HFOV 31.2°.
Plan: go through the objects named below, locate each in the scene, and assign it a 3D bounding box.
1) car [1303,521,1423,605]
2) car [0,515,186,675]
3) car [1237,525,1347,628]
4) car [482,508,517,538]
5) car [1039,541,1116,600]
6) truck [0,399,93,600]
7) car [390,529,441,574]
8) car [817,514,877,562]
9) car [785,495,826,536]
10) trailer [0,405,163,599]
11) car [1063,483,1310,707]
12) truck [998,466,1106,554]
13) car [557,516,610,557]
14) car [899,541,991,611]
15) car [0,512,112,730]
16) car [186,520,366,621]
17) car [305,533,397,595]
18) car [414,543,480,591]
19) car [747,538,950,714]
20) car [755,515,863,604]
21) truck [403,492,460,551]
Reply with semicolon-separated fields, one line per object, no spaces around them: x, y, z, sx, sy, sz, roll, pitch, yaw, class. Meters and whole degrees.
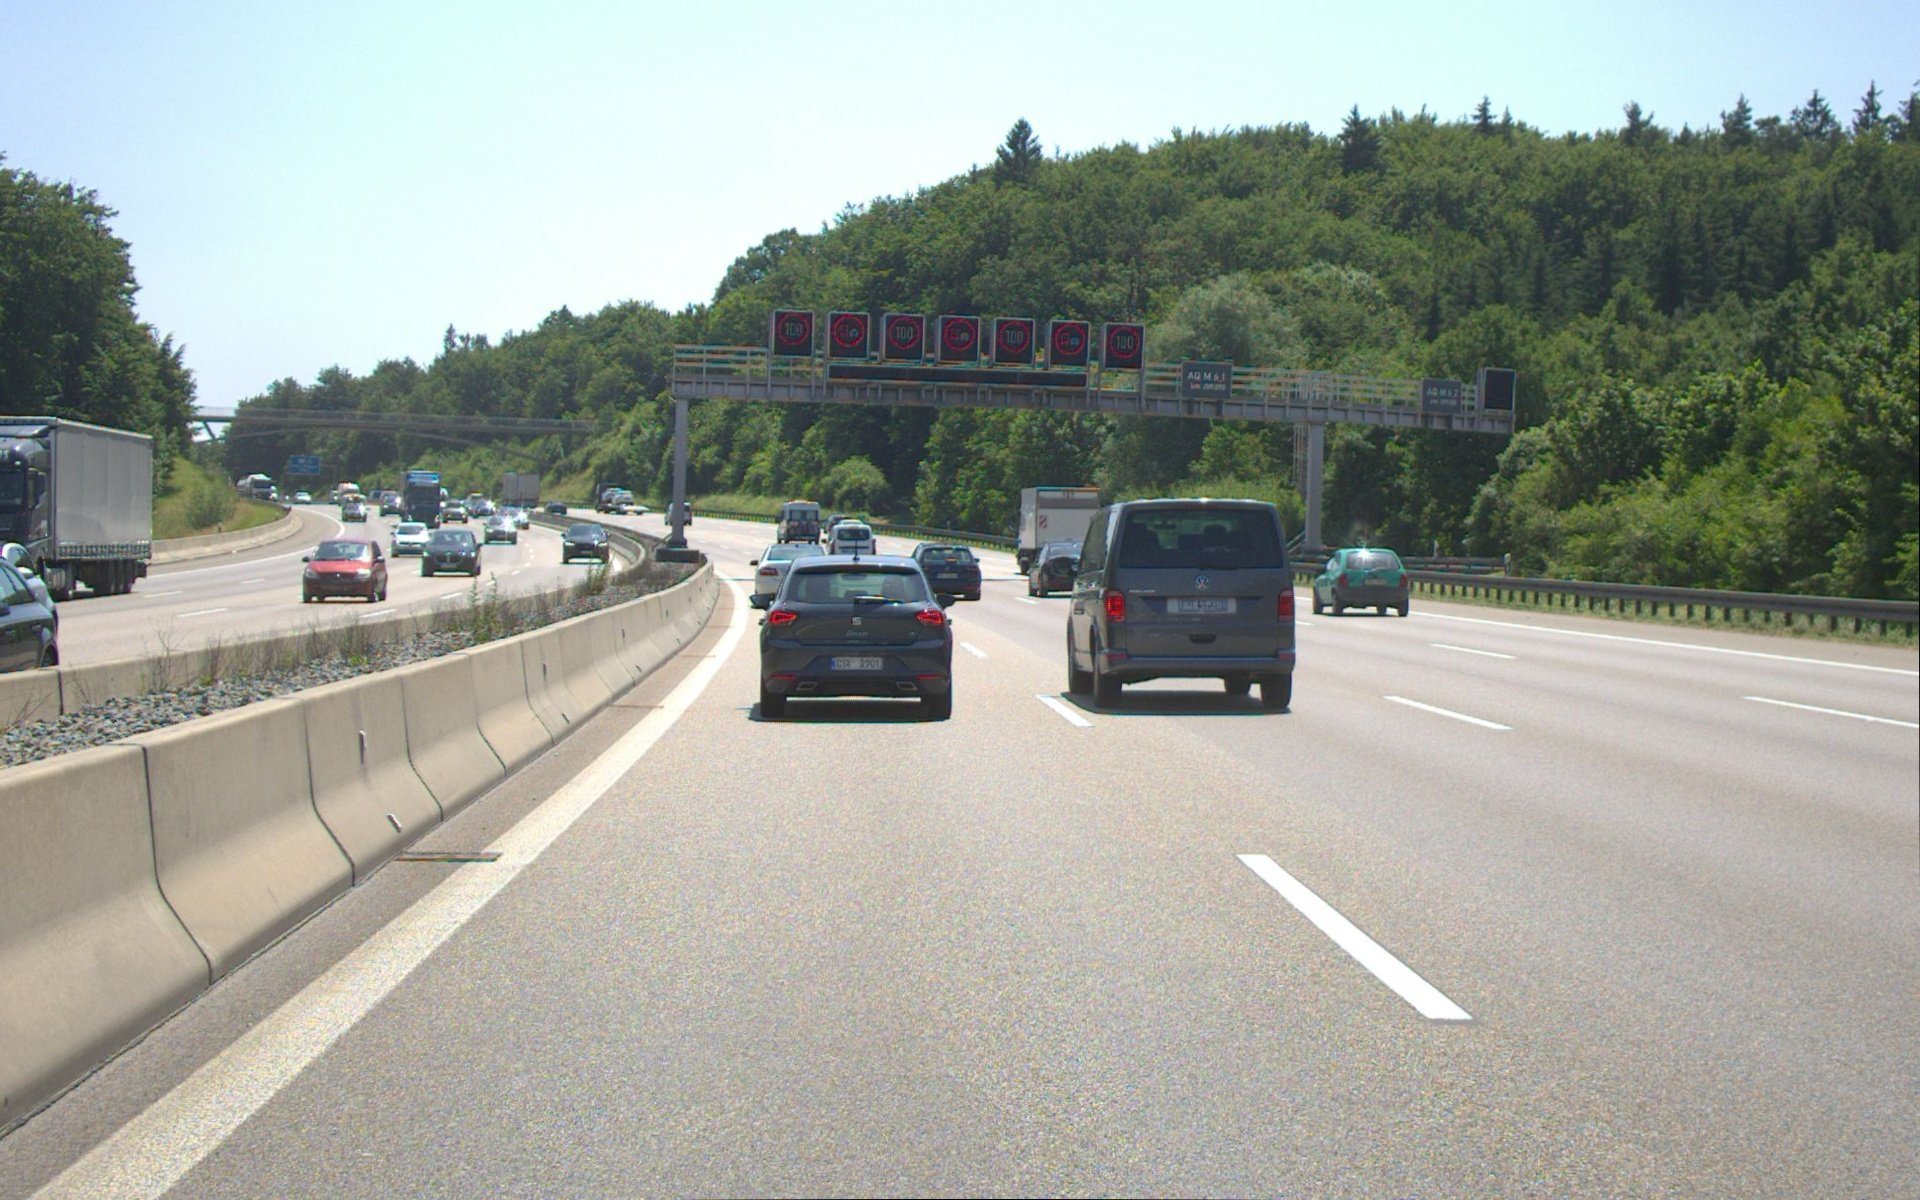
8.589;-0.774;73.483;1.993;1.722;4.000;0;0;-1;car
-10.517;-0.105;40.479;1.740;1.756;5.119;0;1;-1;car
5.897;-0.392;61.207;1.850;1.722;3.999;1;0;5;car
-26.370;-4.420;196.983;1.754;1.629;4.640;0;2;-5;car
3.095;-0.793;91.338;1.665;1.403;4.904;1;2;-2;car
-21.370;-2.199;76.542;2.875;4.275;6.454;0;1;-4;truck
-24.684;-2.210;155.984;1.993;2.007;4.001;0;1;-4;car
-4.380;-2.403;132.909;2.103;1.738;4.689;1;2;-4;car
-9.090;-4.947;202.566;2.265;2.363;4.702;0;1;-2;car
-21.754;-2.273;82.574;2.864;4.248;13.962;0;1;-4;trailer
2.149;-0.085;33.932;1.962;2.026;5.084;0;1;-1;car
3.367;-3.392;128.050;2.985;3.156;7.577;1;2;-6;truck
-15.868;-2.680;145.079;1.993;1.662;4.435;0;1;-4;car
-0.407;-0.616;87.105;1.993;1.722;4.150;0;0;-5;car
-7.975;0.136;25.858;1.993;1.584;4.844;0;1;0;car
-12.219;-0.546;61.746;2.287;1.722;5.031;0;1;-1;car
-14.389;-0.852;81.400;1.669;1.393;4.001;2;0;-3;car
-17.295;-1.108;116.027;1.761;1.515;4.362;2;0;-3;car
-0.992;0.189;31.421;1.708;1.428;4.001;1;2;-1;car
-3.376;-0.887;77.526;2.012;1.839;3.999;0;-1;3;car
-38.411;-5.708;250.104;3.785;4.163;5.880;2;1;-7;truck
